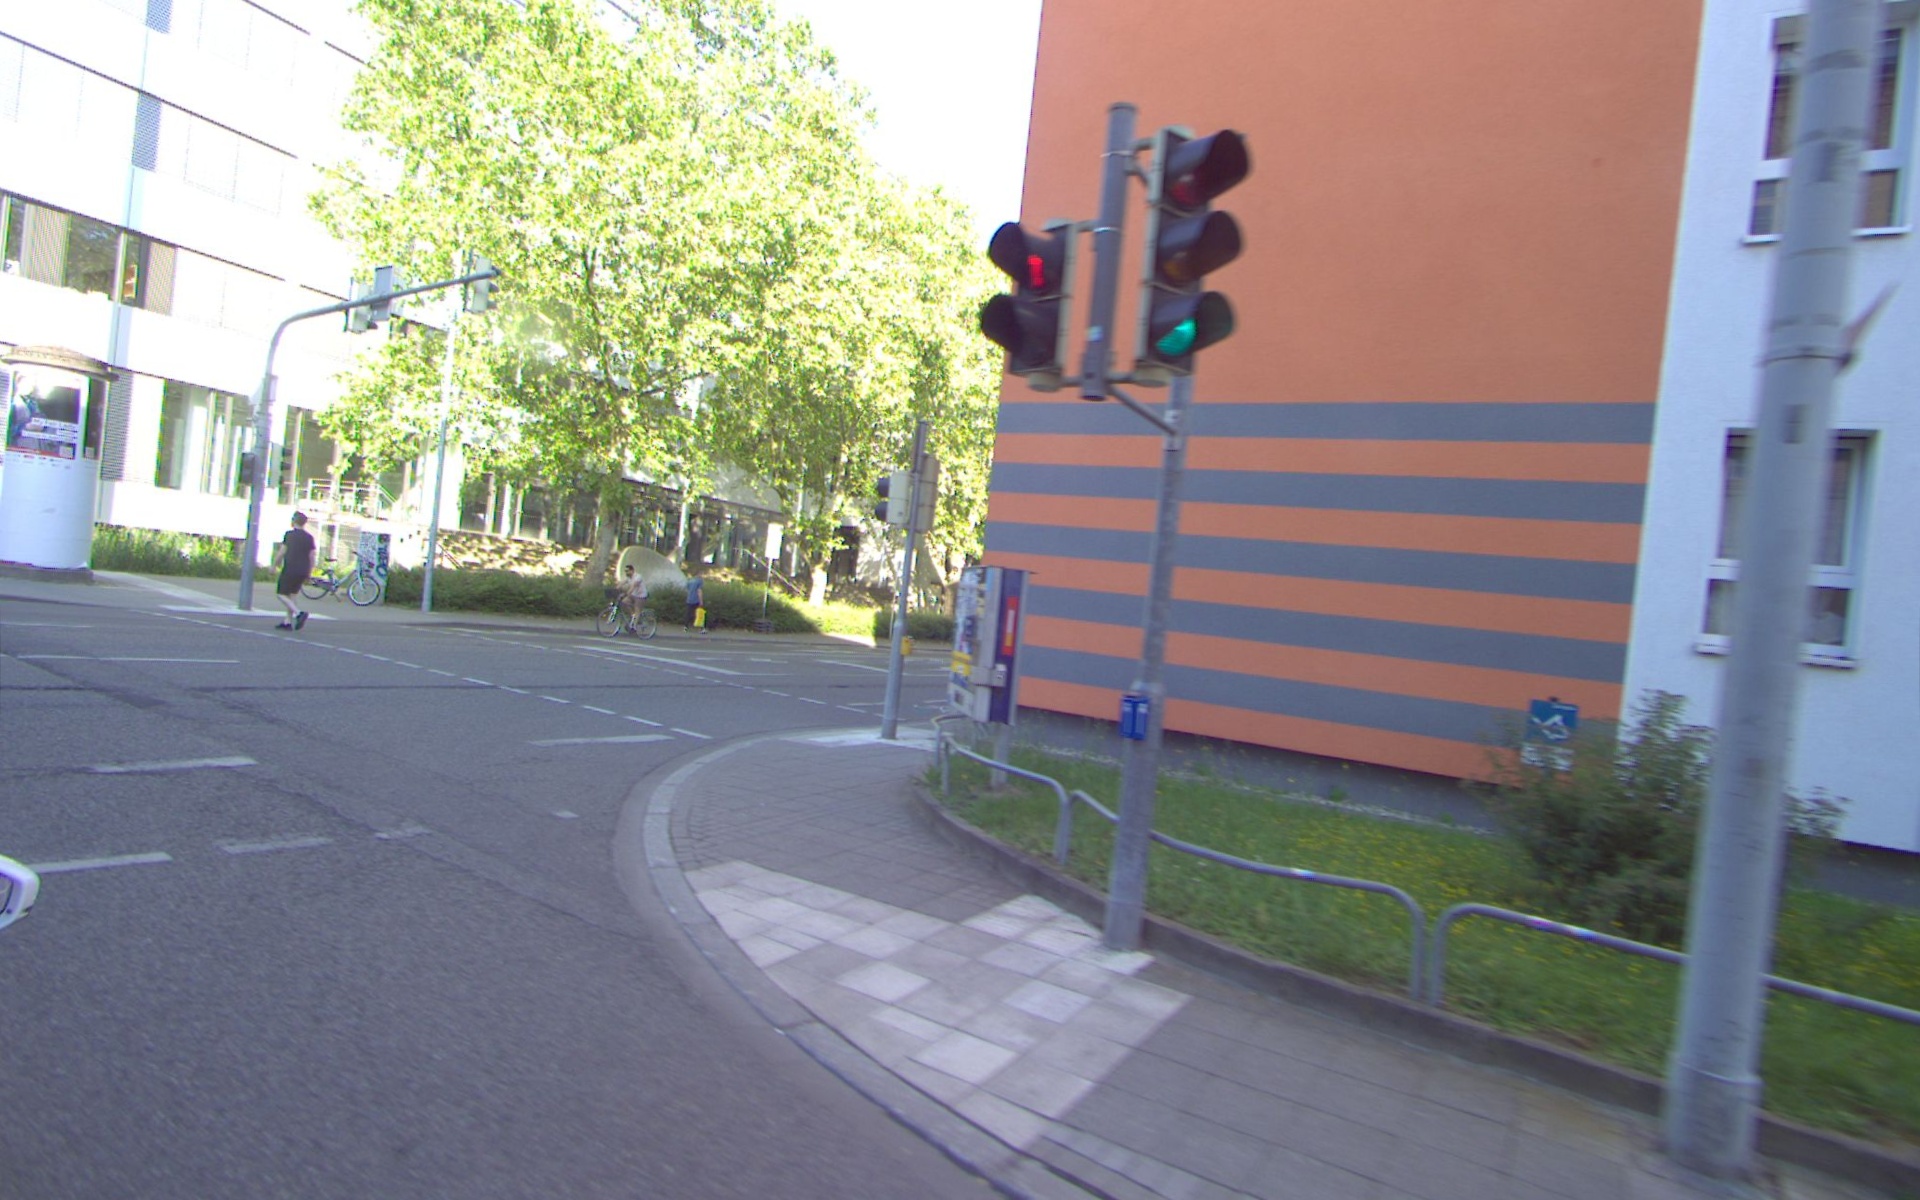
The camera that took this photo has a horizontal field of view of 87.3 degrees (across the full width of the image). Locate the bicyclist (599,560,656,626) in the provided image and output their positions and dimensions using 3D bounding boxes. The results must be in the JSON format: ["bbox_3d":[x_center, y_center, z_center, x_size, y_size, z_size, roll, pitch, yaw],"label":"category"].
[{"bbox_3d":[-8.182,-0.157,24.782,0.736,1.507,0.953,7,1,29],"label":"bicyclist"}]

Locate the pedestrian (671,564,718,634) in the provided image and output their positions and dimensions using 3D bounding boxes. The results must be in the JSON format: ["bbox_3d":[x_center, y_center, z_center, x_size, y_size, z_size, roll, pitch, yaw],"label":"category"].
[{"bbox_3d":[-7.585,-0.026,28.713,0.696,1.861,0.837,7,-1,26],"label":"pedestrian"}]

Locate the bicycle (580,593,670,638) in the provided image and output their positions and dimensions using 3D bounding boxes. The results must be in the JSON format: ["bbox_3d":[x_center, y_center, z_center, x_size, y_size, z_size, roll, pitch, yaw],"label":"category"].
[{"bbox_3d":[-8.235,0.405,24.831,0.719,0.938,2.115,7,0,29],"label":"bicycle"}]

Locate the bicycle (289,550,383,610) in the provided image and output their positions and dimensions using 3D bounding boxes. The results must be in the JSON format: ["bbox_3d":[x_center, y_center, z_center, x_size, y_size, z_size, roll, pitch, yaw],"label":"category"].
[{"bbox_3d":[-13.735,-0.446,22.162,1.657,1.063,0.508,9,2,1],"label":"bicycle"}]

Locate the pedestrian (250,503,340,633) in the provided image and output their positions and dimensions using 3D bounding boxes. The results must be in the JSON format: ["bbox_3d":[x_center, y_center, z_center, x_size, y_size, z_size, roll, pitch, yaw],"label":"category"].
[{"bbox_3d":[-10.177,-0.486,15.395,0.824,1.861,0.707,7,-1,36],"label":"pedestrian"}]
